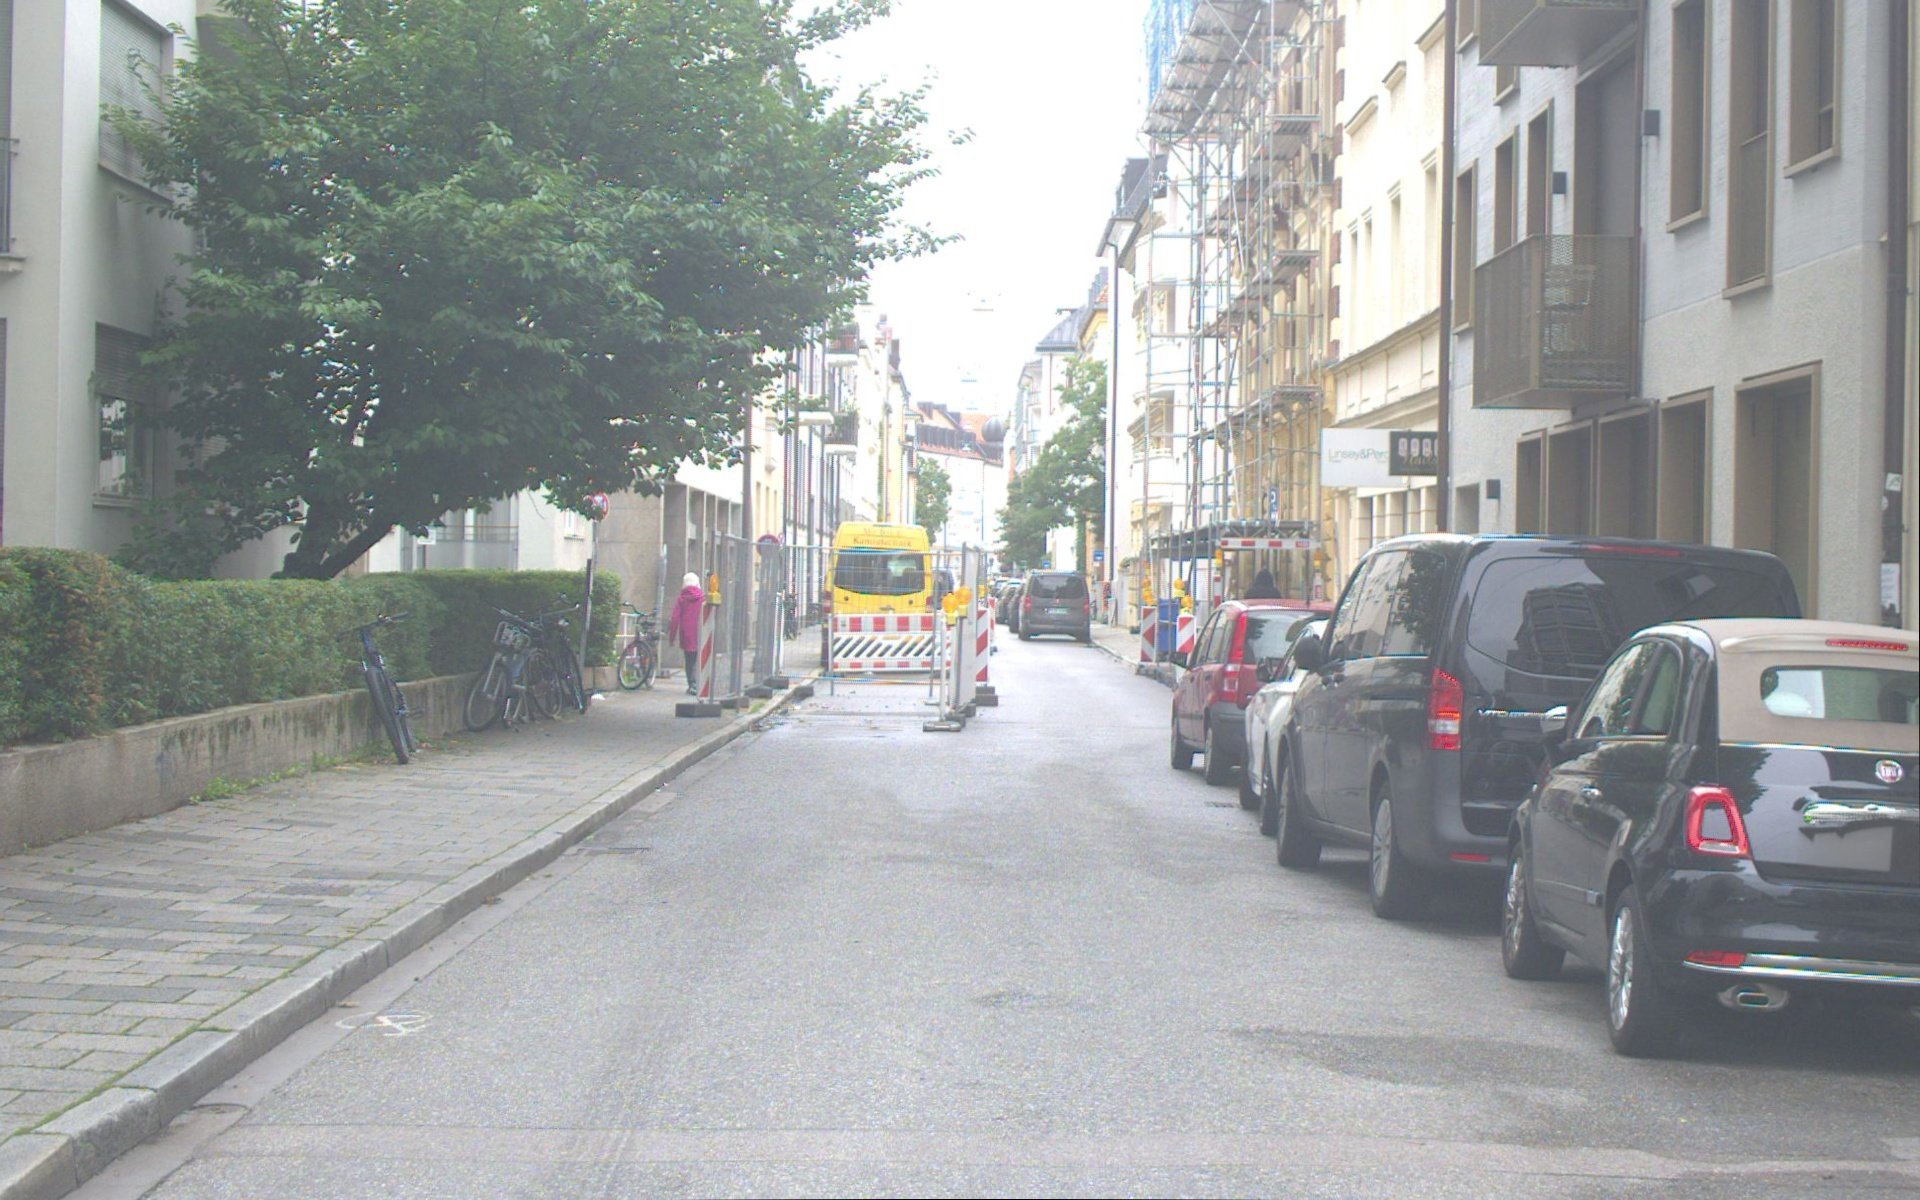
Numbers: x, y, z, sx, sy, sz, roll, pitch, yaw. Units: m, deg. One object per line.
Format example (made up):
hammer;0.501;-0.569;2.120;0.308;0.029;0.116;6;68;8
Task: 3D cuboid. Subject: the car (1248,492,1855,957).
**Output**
car;2.839;0.535;17.728;1.990;1.970;4.885;3;0;-3

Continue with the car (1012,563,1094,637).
car;2.550;-0.028;95.350;1.993;1.925;4.660;2;0;-1

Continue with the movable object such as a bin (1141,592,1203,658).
movable object such as a bin;4.510;0.530;72.988;1.087;1.342;1.317;-2;0;12

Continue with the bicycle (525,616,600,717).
bicycle;-4.055;0.669;35.136;0.443;0.975;1.853;4;-1;1

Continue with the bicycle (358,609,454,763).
bicycle;-4.122;0.620;25.651;0.346;1.068;1.780;5;0;0

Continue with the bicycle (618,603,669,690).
bicycle;-4.131;0.598;44.944;0.377;1.059;1.597;7;0;1

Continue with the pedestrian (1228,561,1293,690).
pedestrian;4.172;0.351;47.736;0.729;1.746;0.988;-3;0;-1

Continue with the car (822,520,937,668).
car;-1.454;-0.125;63.382;1.993;2.570;6.737;1;0;-1

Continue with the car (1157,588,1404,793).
car;2.649;0.709;29.246;1.772;1.519;4.066;3;0;2

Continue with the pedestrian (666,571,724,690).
pedestrian;-3.427;0.391;44.510;0.638;1.527;0.747;1;0;2

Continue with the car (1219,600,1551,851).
car;2.813;0.781;23.625;1.768;1.456;4.380;3;0;1

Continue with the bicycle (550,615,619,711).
bicycle;-4.033;0.670;37.002;0.443;0.975;1.816;4;-1;1

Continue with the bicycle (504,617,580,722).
bicycle;-4.073;0.670;33.574;0.436;0.975;1.698;4;-1;1

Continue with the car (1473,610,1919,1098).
car;3.001;0.828;12.639;1.634;1.466;3.538;3;0;0

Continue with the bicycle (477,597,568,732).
bicycle;-3.946;0.577;31.108;0.488;1.147;1.698;4;-1;1
